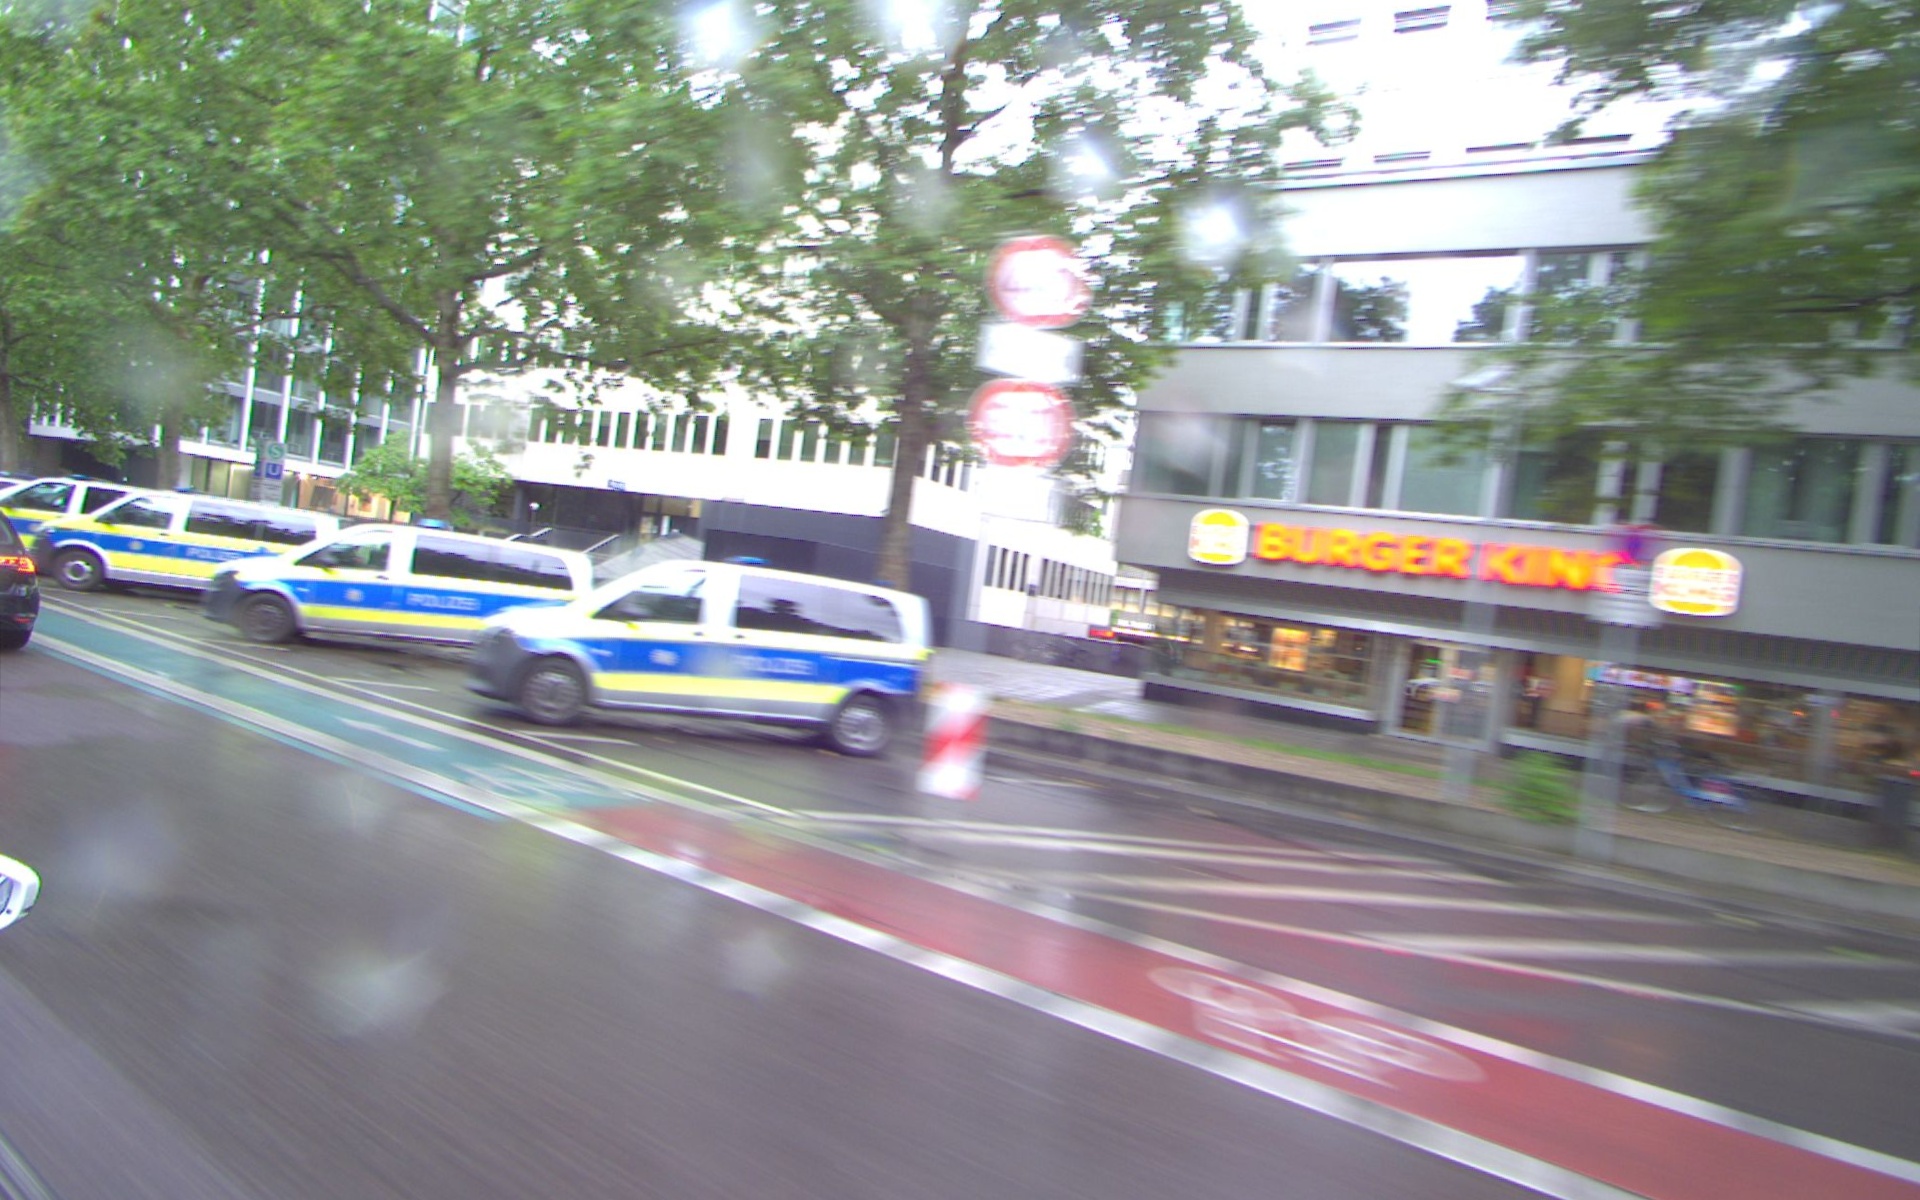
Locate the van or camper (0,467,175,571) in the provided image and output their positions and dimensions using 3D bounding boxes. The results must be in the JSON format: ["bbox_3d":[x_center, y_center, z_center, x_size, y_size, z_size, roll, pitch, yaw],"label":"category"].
[{"bbox_3d":[-22.542,-2.077,24.329,5.038,2.049,2.096,8,0,-21],"label":"van or camper"}]

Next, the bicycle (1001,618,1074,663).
[{"bbox_3d":[2.580,1.357,33.650,2.249,1.187,0.687,7,0,32],"label":"bicycle"}]

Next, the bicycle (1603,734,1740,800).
[{"bbox_3d":[13.084,3.052,18.564,1.879,0.829,0.643,7,0,23],"label":"bicycle"}]

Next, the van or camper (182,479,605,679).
[{"bbox_3d":[-8.105,-0.222,15.039,5.022,2.042,1.987,9,-1,-22],"label":"van or camper"}]

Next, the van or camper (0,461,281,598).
[{"bbox_3d":[-16.918,-1.393,20.389,4.732,2.034,1.990,8,-1,-22],"label":"van or camper"}]

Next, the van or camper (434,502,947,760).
[{"bbox_3d":[-2.863,0.409,11.196,4.880,2.015,1.994,9,-1,-21],"label":"van or camper"}]

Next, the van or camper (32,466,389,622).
[{"bbox_3d":[-13.532,-0.947,18.581,4.790,2.022,1.858,8,-1,-22],"label":"van or camper"}]

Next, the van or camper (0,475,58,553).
[{"bbox_3d":[-28.552,-2.714,27.563,5.144,2.015,1.989,9,-2,-24],"label":"van or camper"}]

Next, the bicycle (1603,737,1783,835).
[{"bbox_3d":[10.191,2.573,14.086,1.881,0.935,0.642,7,2,30],"label":"bicycle"}]

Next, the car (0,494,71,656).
[{"bbox_3d":[-10.579,-0.463,9.660,3.931,1.430,1.768,7,0,29],"label":"car"}]

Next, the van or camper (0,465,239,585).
[{"bbox_3d":[-19.377,-1.681,22.403,4.963,2.019,1.987,8,0,-26],"label":"van or camper"}]

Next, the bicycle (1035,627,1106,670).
[{"bbox_3d":[3.803,1.666,34.707,2.248,1.187,0.688,7,0,29],"label":"bicycle"}]

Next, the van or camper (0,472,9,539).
[{"bbox_3d":[-31.596,-3.189,29.412,4.951,2.037,1.990,7,-1,-23],"label":"van or camper"}]
